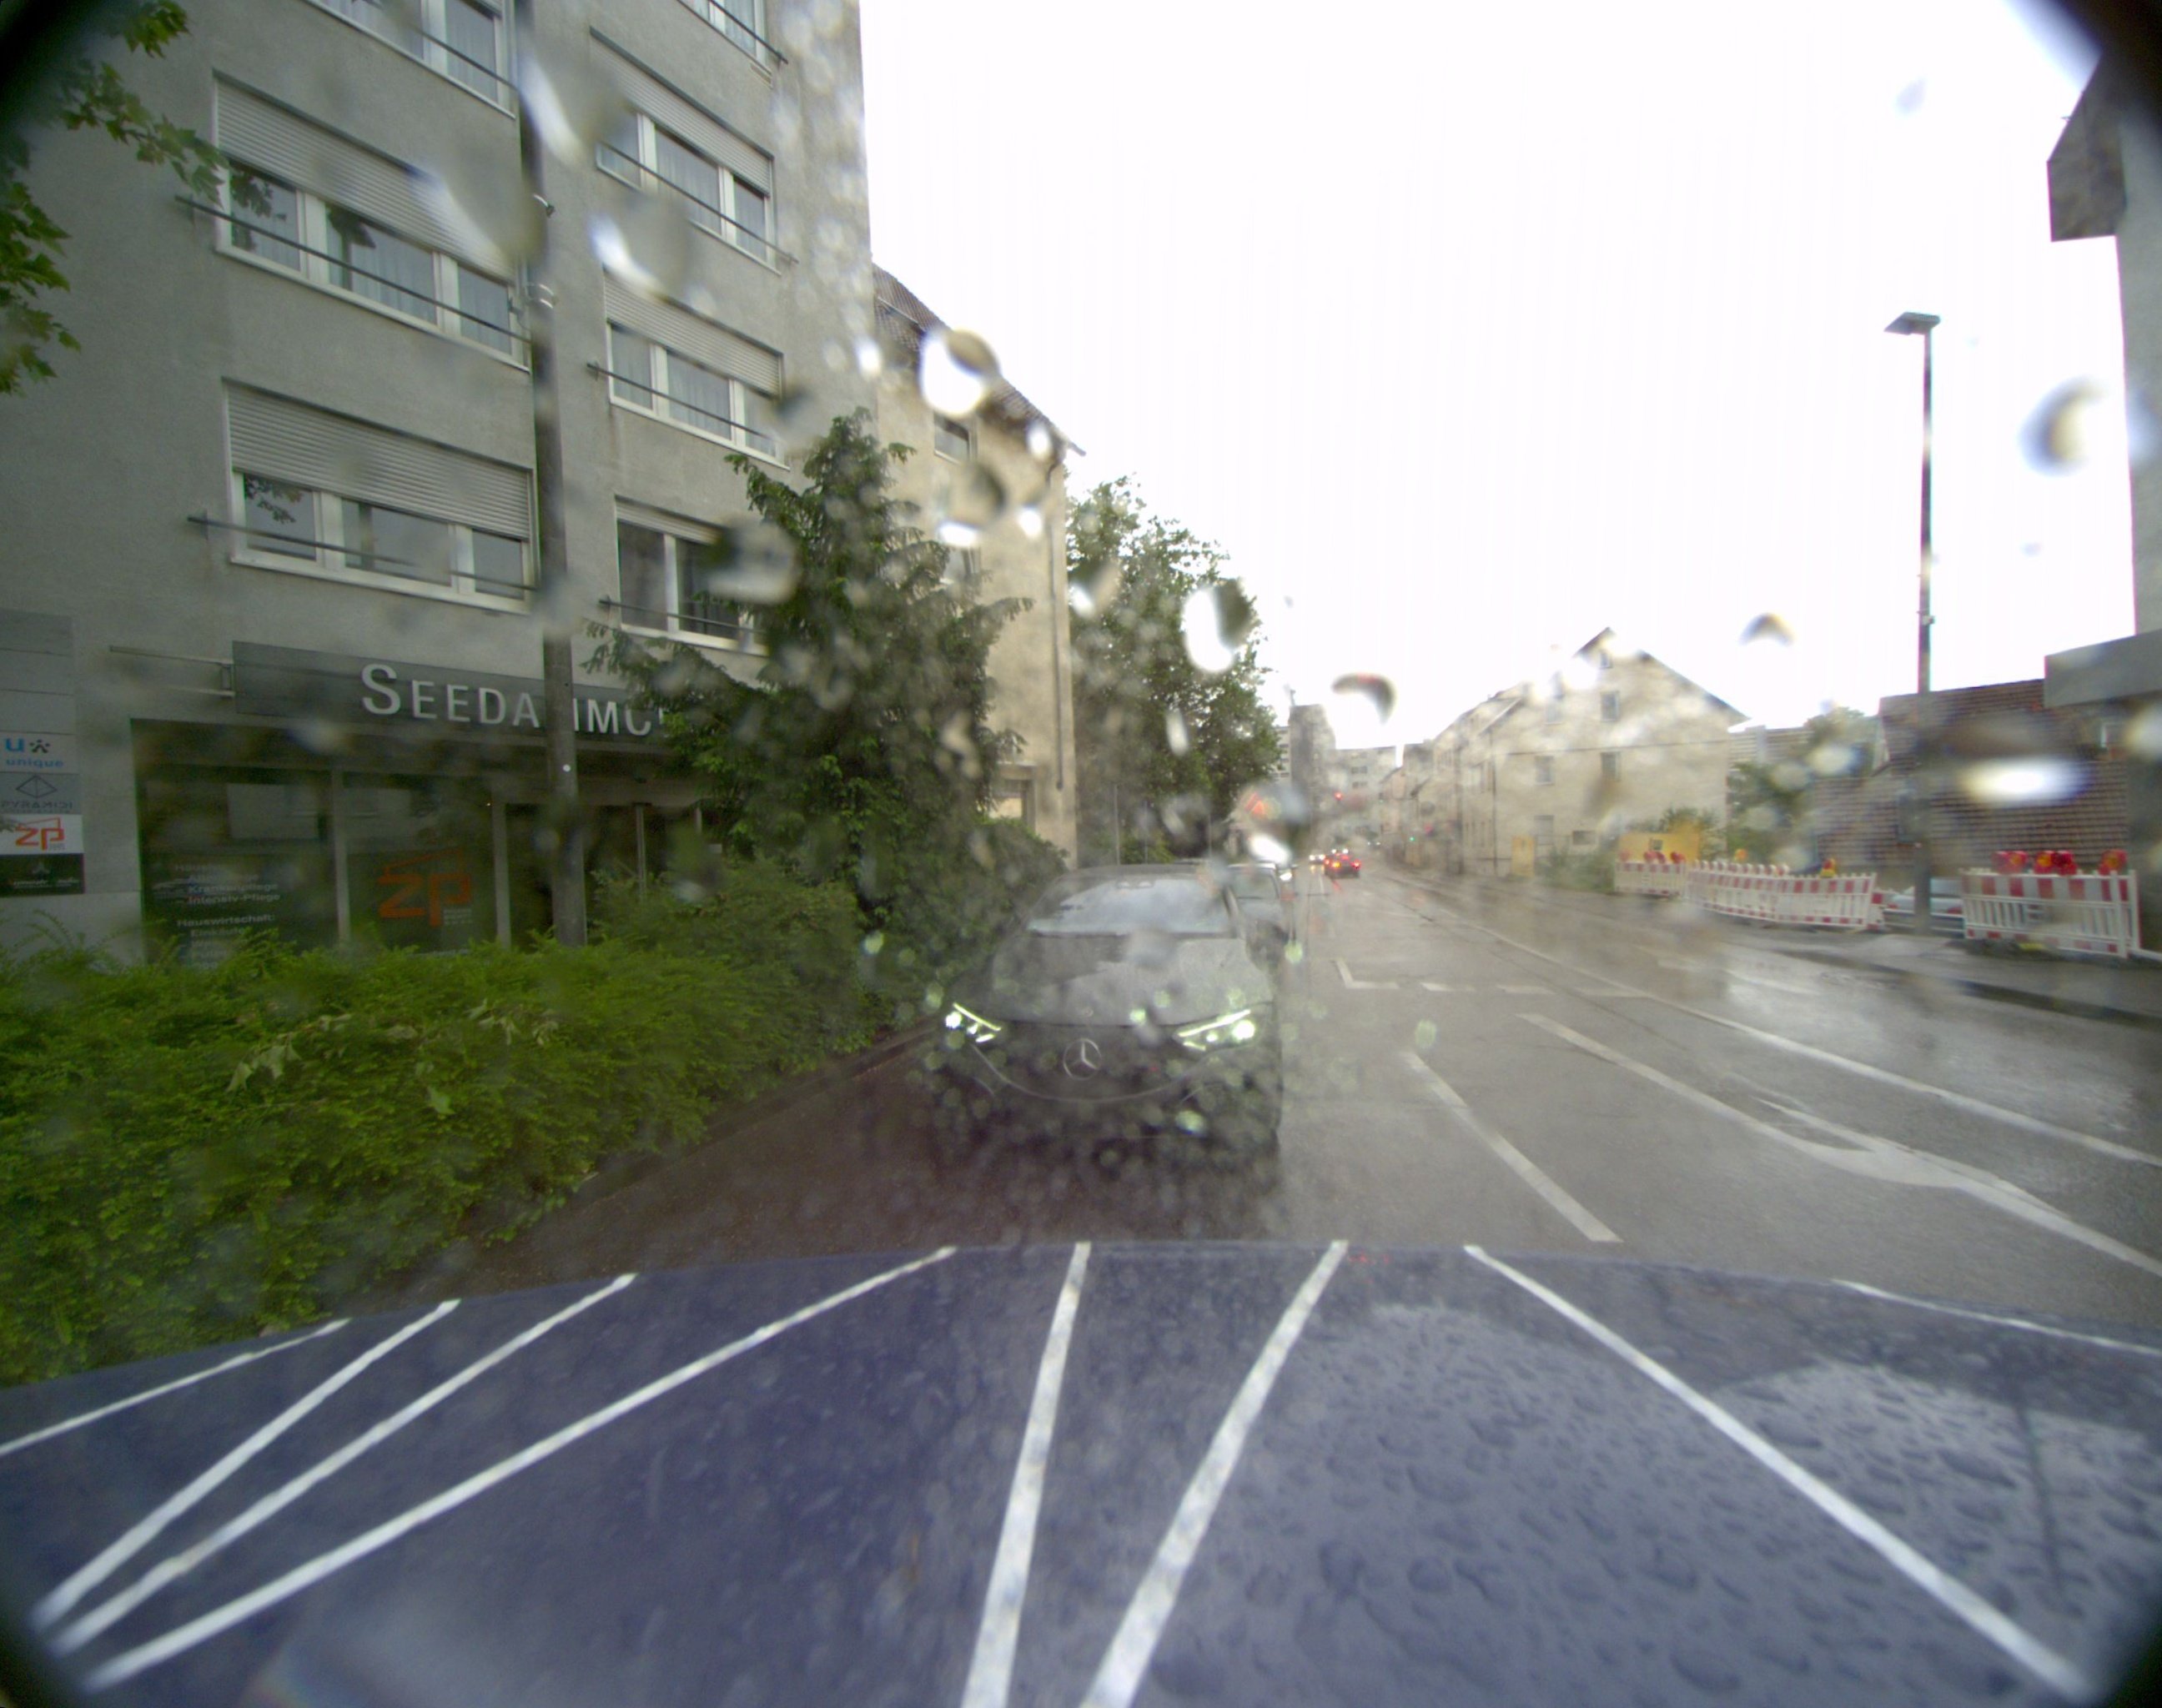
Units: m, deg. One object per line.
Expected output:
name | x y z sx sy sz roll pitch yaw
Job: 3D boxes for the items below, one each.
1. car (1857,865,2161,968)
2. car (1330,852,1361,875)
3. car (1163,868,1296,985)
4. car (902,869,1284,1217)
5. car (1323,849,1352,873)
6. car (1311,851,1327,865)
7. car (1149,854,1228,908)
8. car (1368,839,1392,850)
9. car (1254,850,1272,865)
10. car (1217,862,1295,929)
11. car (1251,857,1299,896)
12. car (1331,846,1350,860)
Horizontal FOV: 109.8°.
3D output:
car | 16.477 1.061 13.443 3.505 1.382 1.653 6 -1 8
car | 17.226 0.628 49.661 1.709 1.375 3.674 -2 0 16
car | 2.460 0.983 11.879 1.639 1.424 3.810 -1 0 17
car | 0.440 0.953 5.784 1.819 1.562 4.280 -3 -1 11
car | 18.838 0.520 55.940 1.818 1.635 4.281 -3 -1 16
car | 26.643 0.459 85.124 1.613 1.495 3.722 -3 -1 17
car | 4.035 0.907 27.820 1.933 1.770 4.740 -1 0 20
car | 48.191 -1.531 122.586 3.842 1.555 1.790 -2 0 -37
car | 21.527 0.456 89.992 1.818 1.635 4.281 -3 -1 16
car | 4.473 0.975 19.211 1.685 1.413 4.004 -2 0 14
car | 8.118 0.888 31.586 1.684 1.452 4.005 -2 0 17
car | 36.216 -0.133 106.000 1.790 1.841 3.842 -2 0 27
